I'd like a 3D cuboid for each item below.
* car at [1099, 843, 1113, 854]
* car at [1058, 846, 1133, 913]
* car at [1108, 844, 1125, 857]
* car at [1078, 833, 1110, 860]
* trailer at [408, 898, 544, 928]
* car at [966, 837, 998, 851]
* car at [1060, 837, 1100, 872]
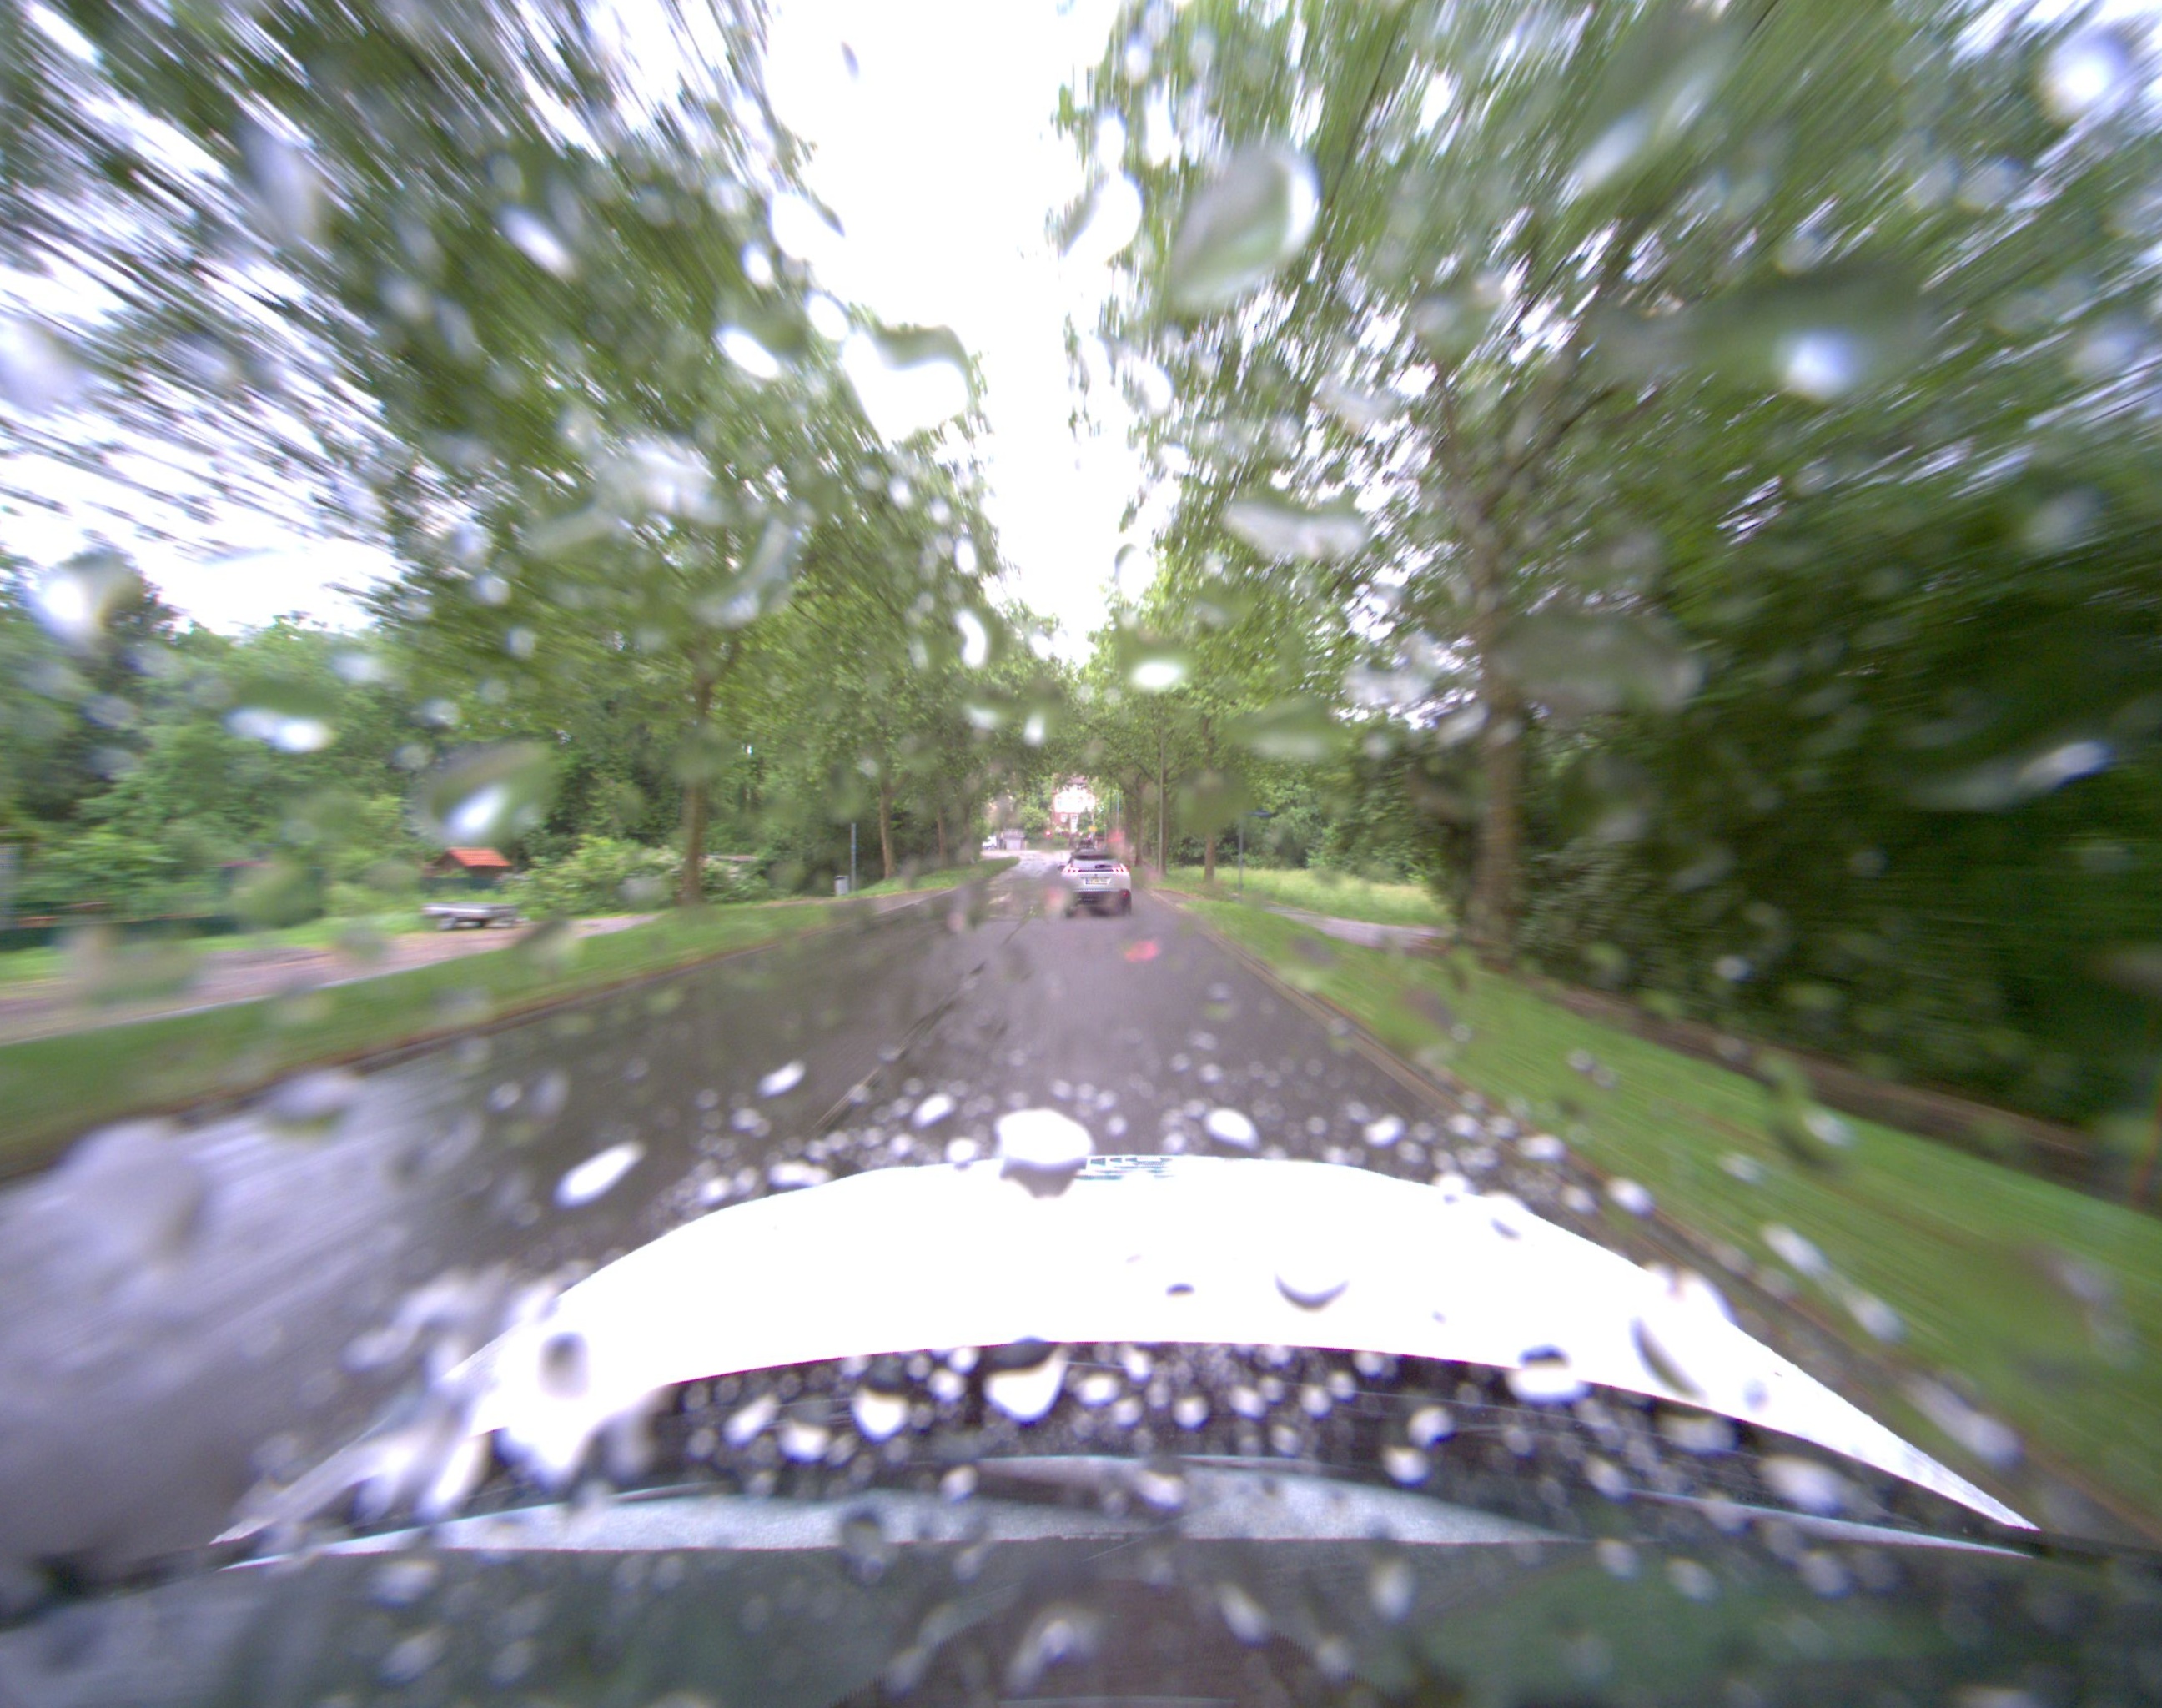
[{"bbox_3d":[3.776,-0.845,124.536,1.745,1.491,3.597,3,1,-2],"label":"car"},{"bbox_3d":[0.293,0.588,21.505,1.748,1.535,4.364,0,1,-2],"label":"car"},{"bbox_3d":[5.035,-0.525,114.981,1.816,1.517,3.738,8,2,-5],"label":"car"},{"bbox_3d":[0.852,-0.539,55.171,1.757,1.710,4.596,2,2,-4],"label":"car"},{"bbox_3d":[-18.971,1.846,25.623,3.016,0.837,1.679,0,-1,3],"label":"trailer"},{"bbox_3d":[-18.968,-1.934,156.114,5.644,2.494,2.315,2,-1,-1],"label":"car"},{"bbox_3d":[-0.085,-0.017,40.498,1.826,1.456,4.657,3,2,-1],"label":"car"}]
